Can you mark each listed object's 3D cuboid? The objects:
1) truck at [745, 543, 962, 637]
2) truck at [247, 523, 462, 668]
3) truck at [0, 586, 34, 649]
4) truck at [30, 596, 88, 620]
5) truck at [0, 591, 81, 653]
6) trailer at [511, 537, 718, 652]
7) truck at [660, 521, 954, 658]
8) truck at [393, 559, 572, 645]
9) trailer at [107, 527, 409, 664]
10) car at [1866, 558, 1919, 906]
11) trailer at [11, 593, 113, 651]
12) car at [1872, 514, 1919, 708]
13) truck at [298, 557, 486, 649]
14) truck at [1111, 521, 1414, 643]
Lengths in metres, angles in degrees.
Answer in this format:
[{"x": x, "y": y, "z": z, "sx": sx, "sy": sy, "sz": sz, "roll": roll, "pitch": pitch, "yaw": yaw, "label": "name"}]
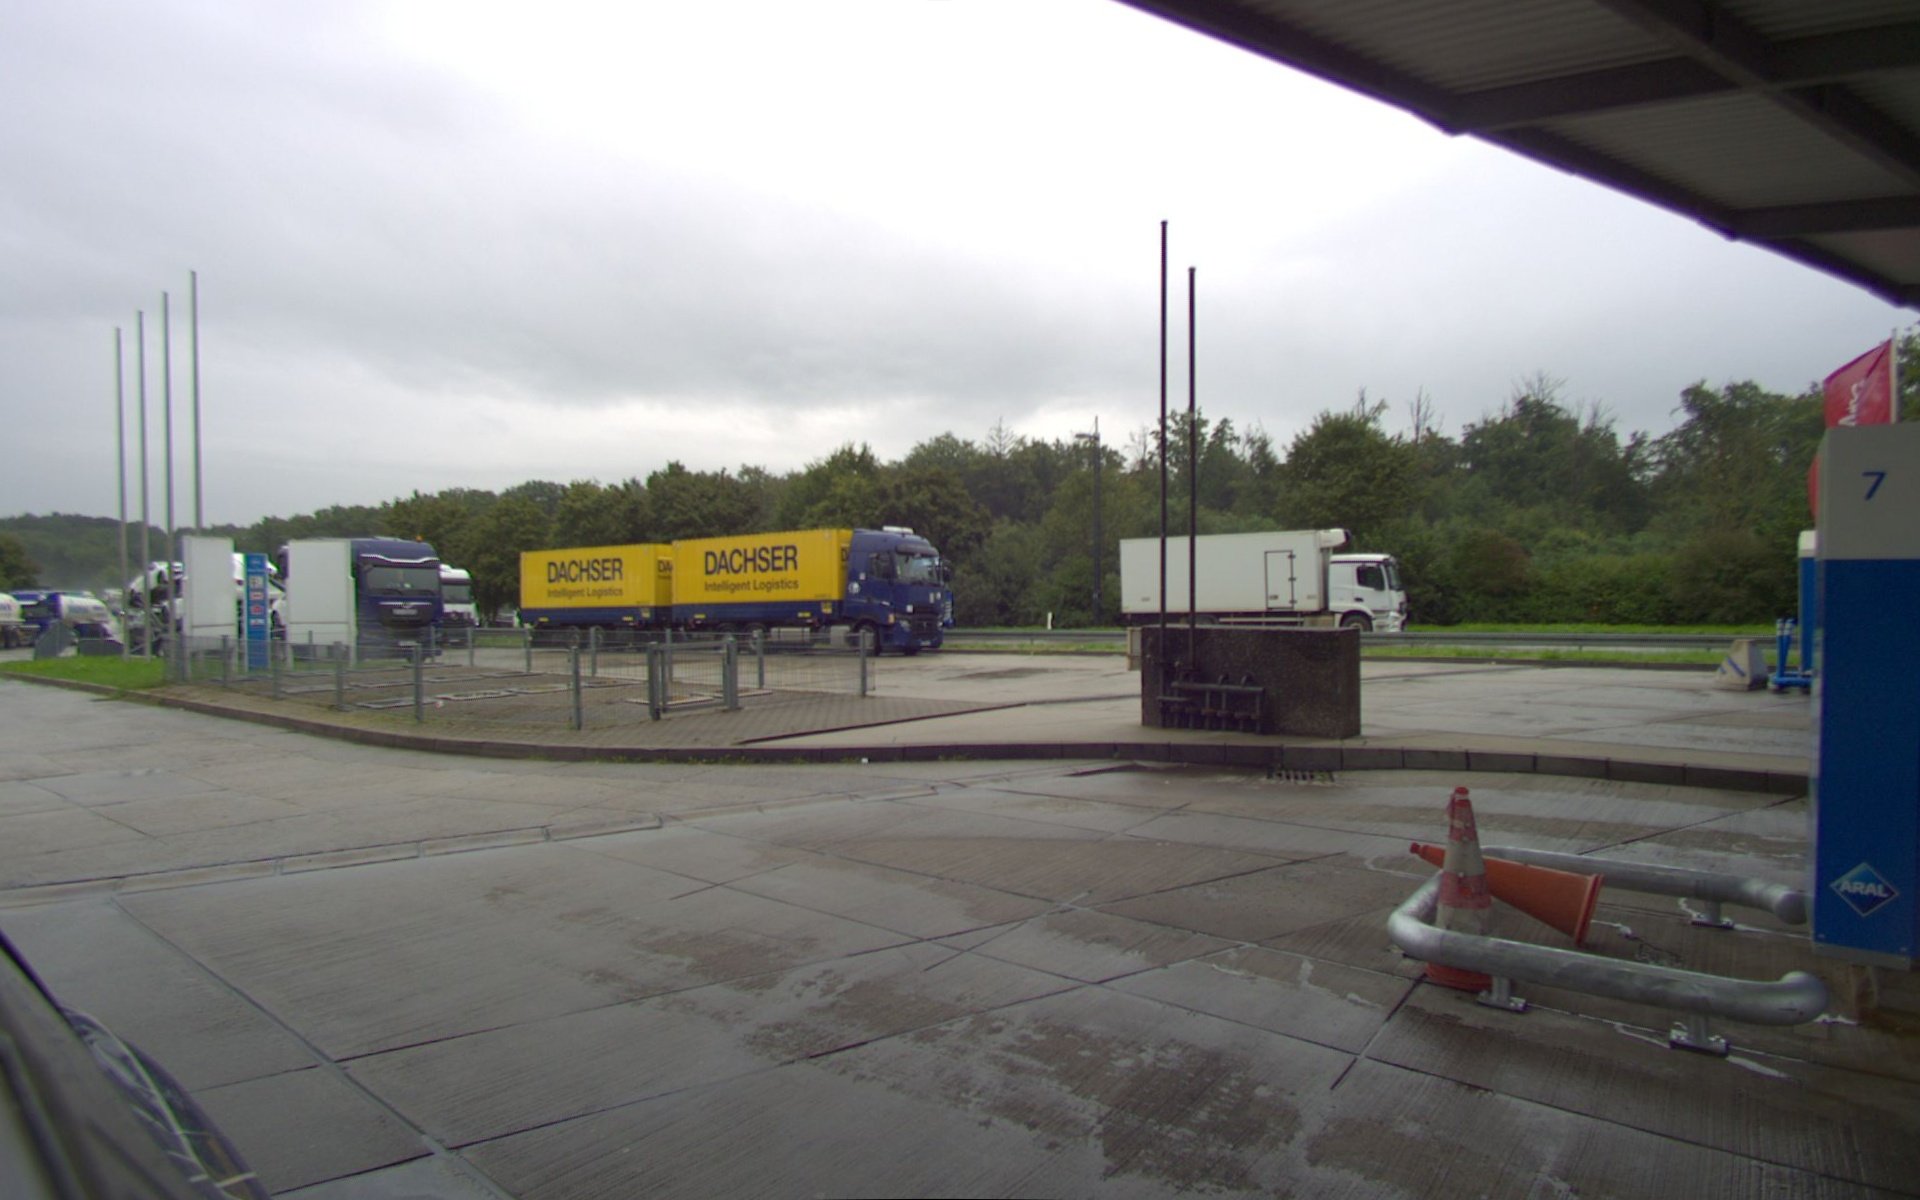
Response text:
[{"x": -5.145, "y": -0.374, "z": 47.688, "sx": 10.433, "sy": 4.063, "sz": 2.961, "roll": -1, "pitch": 0, "yaw": 30, "label": "truck"}, {"x": -18.997, "y": -0.112, "z": 31.618, "sx": 7.244, "sy": 4.063, "sz": 2.957, "roll": -1, "pitch": 0, "yaw": 34, "label": "truck"}, {"x": -55.563, "y": 1.021, "z": 55.011, "sx": 3.196, "sy": 3.591, "sz": 12.013, "roll": -1, "pitch": 0, "yaw": -19, "label": "truck"}, {"x": -142.500, "y": 1.194, "z": 160.009, "sx": 14.626, "sy": 3.591, "sz": 3.214, "roll": 0, "pitch": -2, "yaw": 34, "label": "truck"}, {"x": -59.430, "y": 1.374, "z": 64.990, "sx": 3.000, "sy": 3.795, "sz": 6.486, "roll": -1, "pitch": 0, "yaw": -27, "label": "truck"}, {"x": -13.551, "y": -0.164, "z": 39.286, "sx": 8.833, "sy": 4.063, "sz": 2.743, "roll": -1, "pitch": 0, "yaw": 33, "label": "trailer"}, {"x": -5.395, "y": -0.269, "z": 33.953, "sx": 10.608, "sy": 4.063, "sz": 2.743, "roll": -1, "pitch": 0, "yaw": 33, "label": "truck"}, {"x": -24.785, "y": 0.144, "z": 52.271, "sx": 10.433, "sy": 4.063, "sz": 2.961, "roll": -1, "pitch": 0, "yaw": 30, "label": "truck"}, {"x": -25.421, "y": -0.055, "z": 35.921, "sx": 16.563, "sy": 4.063, "sz": 2.957, "roll": -1, "pitch": 0, "yaw": 34, "label": "trailer"}, {"x": 6.779, "y": 0.557, "z": 3.693, "sx": 4.996, "sy": 1.576, "sz": 1.797, "roll": -1, "pitch": 0, "yaw": 37, "label": "car"}, {"x": -62.276, "y": 1.437, "z": 70.477, "sx": 2.854, "sy": 3.666, "sz": 10.605, "roll": -1, "pitch": 0, "yaw": -28, "label": "trailer"}, {"x": 14.864, "y": 0.113, "z": 12.370, "sx": 5.272, "sy": 2.482, "sz": 2.298, "roll": -1, "pitch": -2, "yaw": 37, "label": "car"}, {"x": -27.306, "y": 0.178, "z": 48.442, "sx": 10.433, "sy": 4.063, "sz": 2.961, "roll": -1, "pitch": 0, "yaw": 30, "label": "truck"}, {"x": 11.071, "y": -0.542, "z": 37.697, "sx": 10.433, "sy": 4.063, "sz": 2.961, "roll": -1, "pitch": 0, "yaw": 30, "label": "truck"}]
